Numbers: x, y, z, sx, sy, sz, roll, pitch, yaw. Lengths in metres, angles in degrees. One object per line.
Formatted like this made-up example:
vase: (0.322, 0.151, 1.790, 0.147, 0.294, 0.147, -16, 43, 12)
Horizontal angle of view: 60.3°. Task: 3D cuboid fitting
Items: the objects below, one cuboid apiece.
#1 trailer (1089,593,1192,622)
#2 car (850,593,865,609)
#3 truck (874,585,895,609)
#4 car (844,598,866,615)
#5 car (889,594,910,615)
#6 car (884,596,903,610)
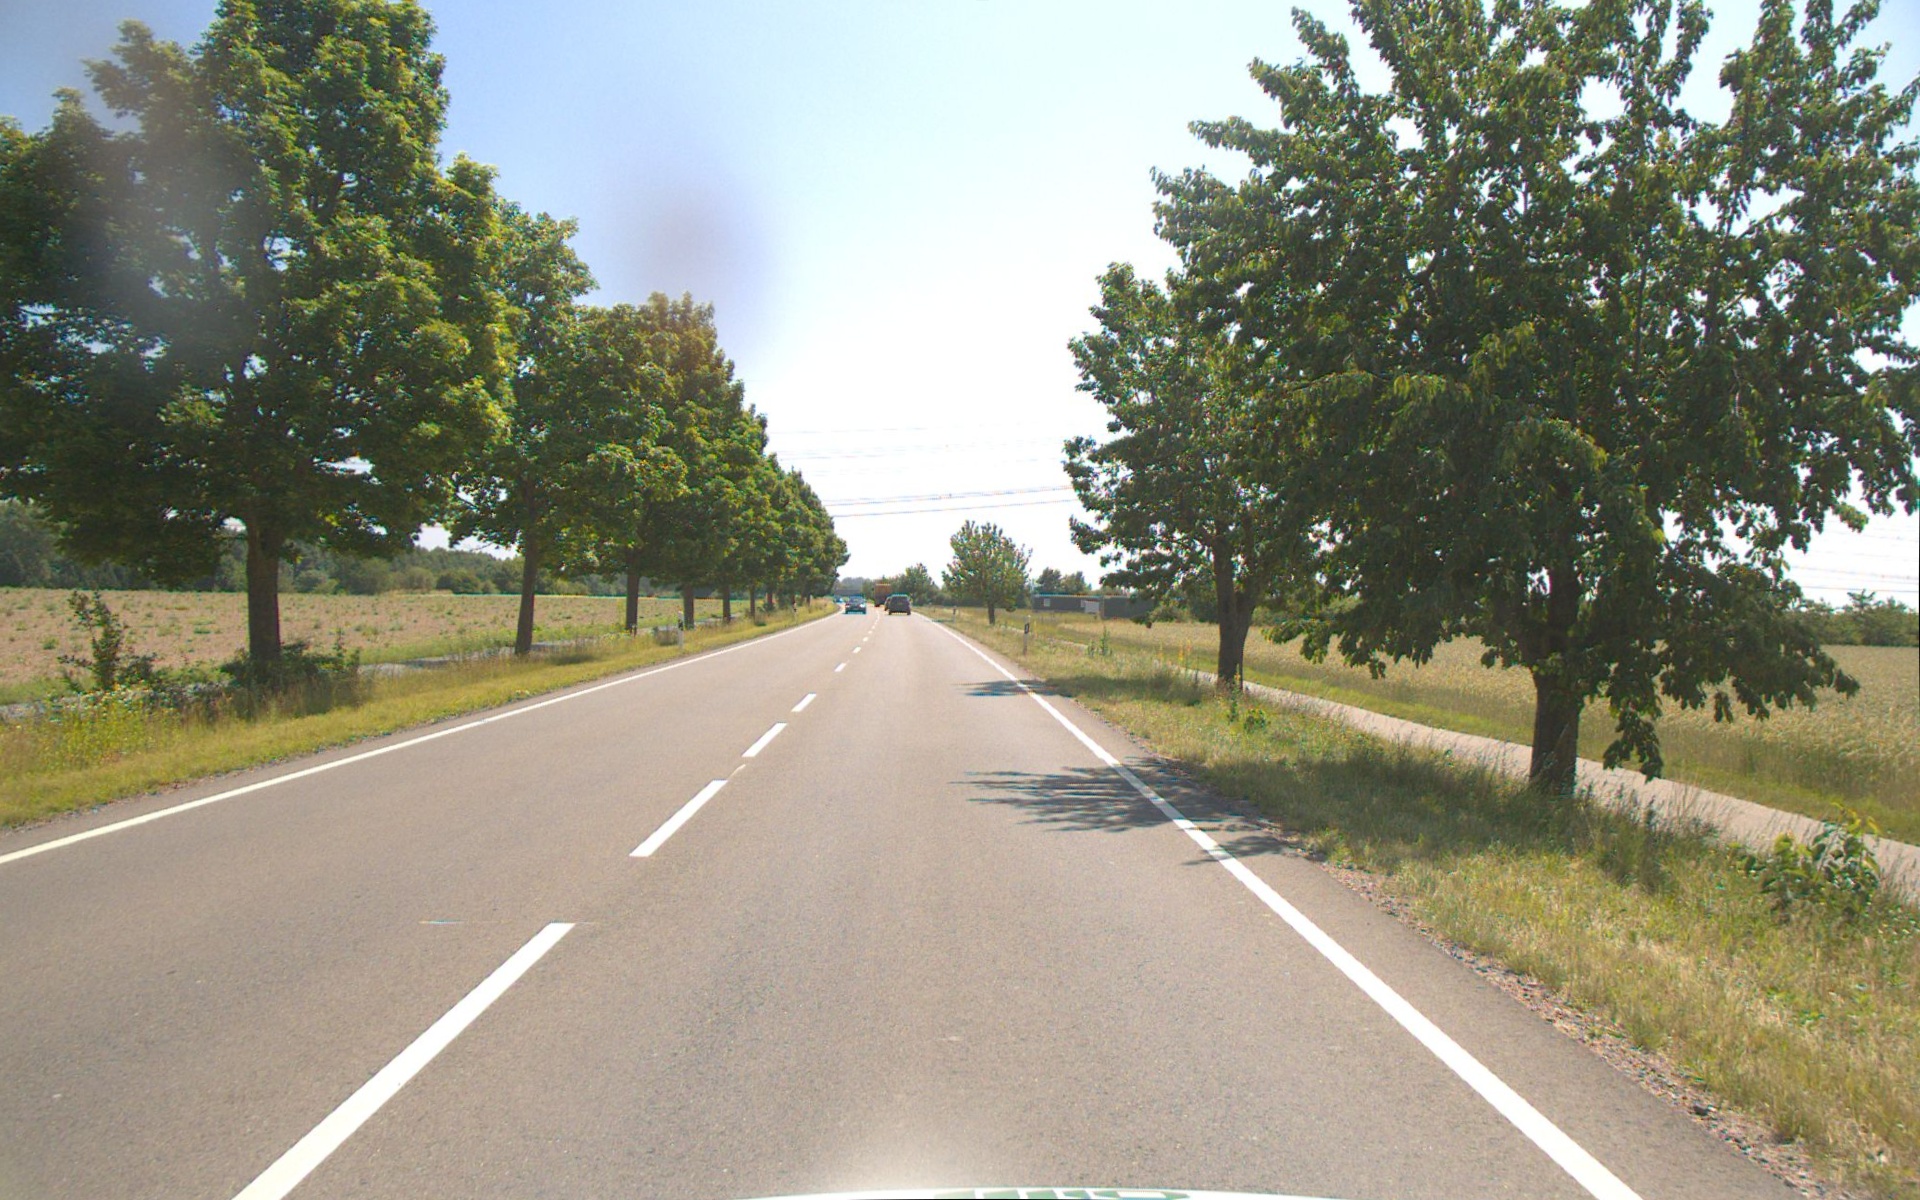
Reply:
trailer: (23.891, 0.982, 219.203, 13.247, 3.536, 3.273, 2, 0, -6)
car: (-12.468, 0.111, 201.533, 1.647, 1.881, 3.998, 1, 0, -3)
truck: (-10.778, -0.460, 235.818, 2.325, 3.195, 8.735, 2, 0, -6)
car: (-9.246, 0.566, 145.793, 1.785, 1.445, 4.587, 1, 0, -2)
car: (-5.168, 0.392, 140.083, 1.681, 1.723, 3.985, 1, 0, -4)
car: (-7.136, 0.314, 178.307, 1.815, 1.549, 3.995, 1, 0, -6)
